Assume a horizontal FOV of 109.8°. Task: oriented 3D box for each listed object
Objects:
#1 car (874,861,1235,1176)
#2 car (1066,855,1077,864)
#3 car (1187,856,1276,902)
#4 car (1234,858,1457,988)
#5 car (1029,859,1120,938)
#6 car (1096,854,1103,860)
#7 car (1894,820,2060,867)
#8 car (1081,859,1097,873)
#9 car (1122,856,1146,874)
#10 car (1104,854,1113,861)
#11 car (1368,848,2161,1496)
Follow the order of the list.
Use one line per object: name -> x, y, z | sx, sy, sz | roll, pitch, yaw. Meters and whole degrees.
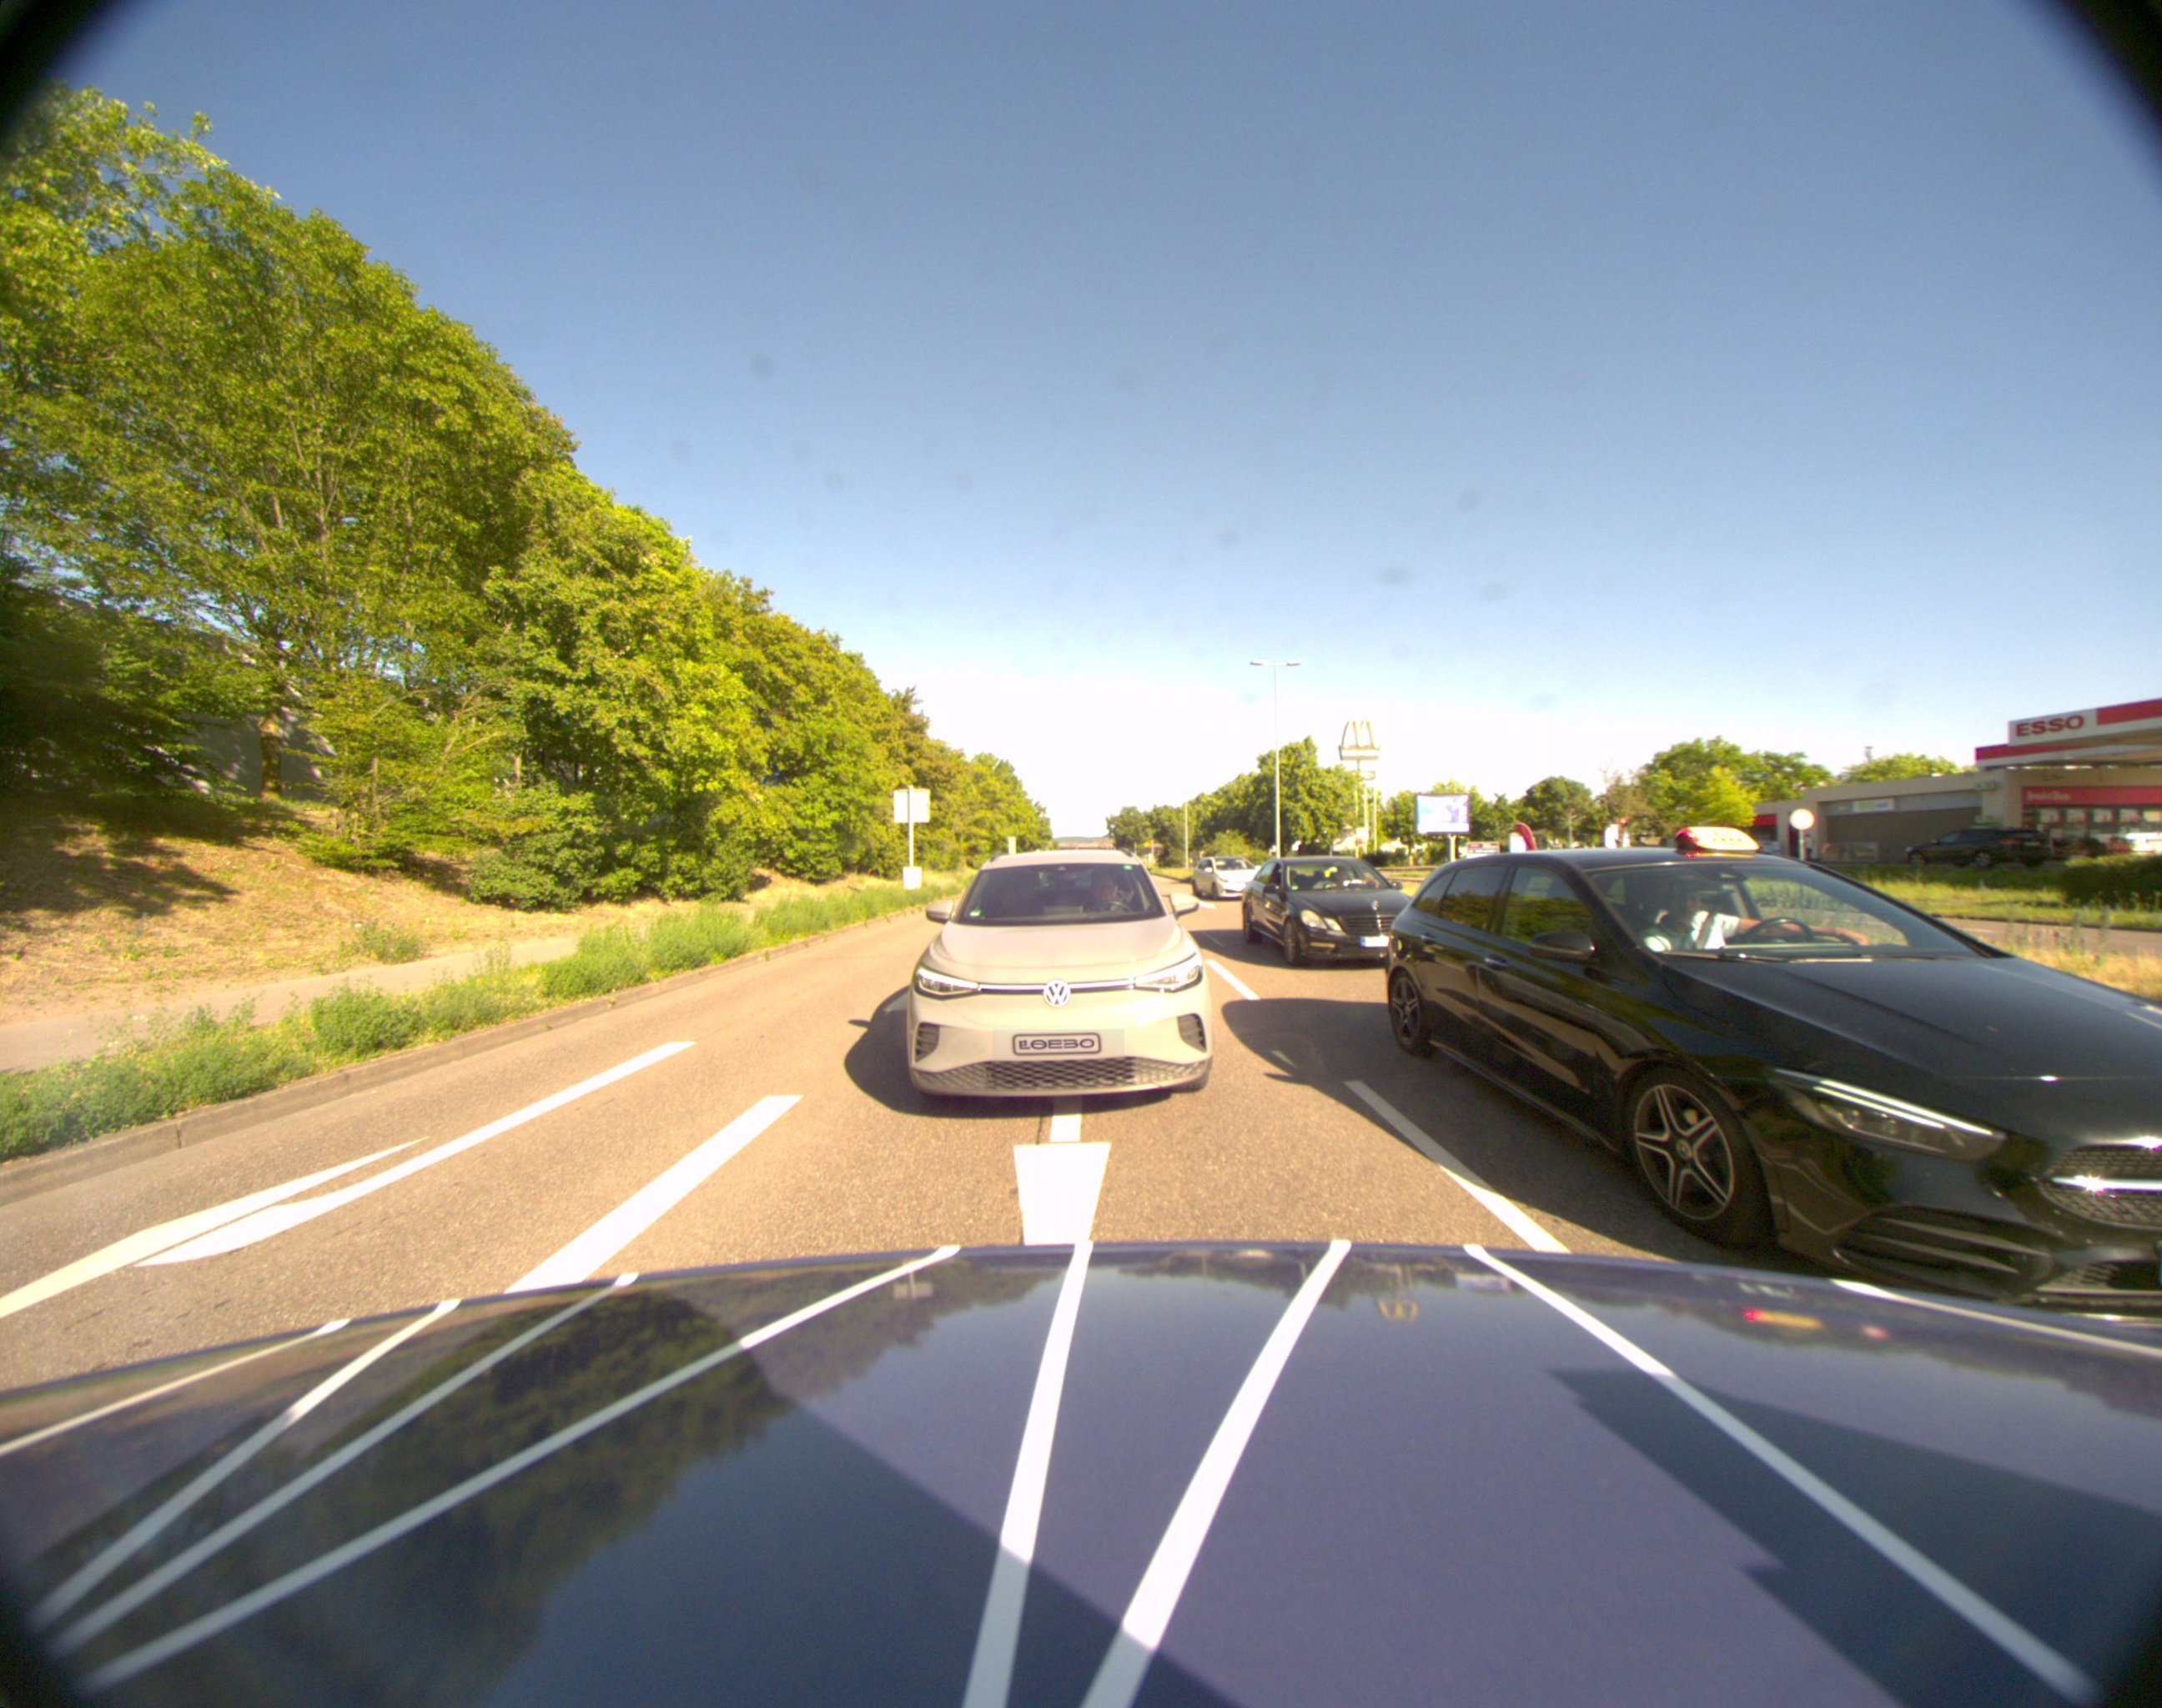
car -> -0.114, 0.896, 5.997 | 1.871, 1.588, 3.932 | -2, 0, 1
car -> -1.713, 1.035, 139.860 | 1.862, 1.578, 4.403 | -1, 0, 1
car -> 5.138, 0.813, 26.604 | 1.863, 1.421, 4.401 | -1, 0, -5
car -> 3.649, 0.849, 11.415 | 1.862, 1.515, 4.403 | -1, 0, 1
car -> -0.109, 0.897, 16.972 | 1.765, 1.503, 3.760 | -2, 0, 1
car -> 5.164, 0.843, 209.905 | 1.862, 1.578, 4.403 | -1, 0, 1
car -> 36.364, -0.412, 31.039 | 1.998, 1.759, 4.118 | -1, 0, 2
car -> 1.171, 1.690, 108.945 | 2.289, 1.863, 5.268 | -1, 0, 1
car -> 4.638, 0.901, 66.633 | 1.862, 1.472, 4.403 | -1, 0, 1
car -> 6.266, 0.725, 175.409 | 1.862, 1.578, 4.403 | -1, 0, 1
car -> 3.168, 0.807, 3.995 | 1.804, 1.616, 4.188 | -1, 0, 2
